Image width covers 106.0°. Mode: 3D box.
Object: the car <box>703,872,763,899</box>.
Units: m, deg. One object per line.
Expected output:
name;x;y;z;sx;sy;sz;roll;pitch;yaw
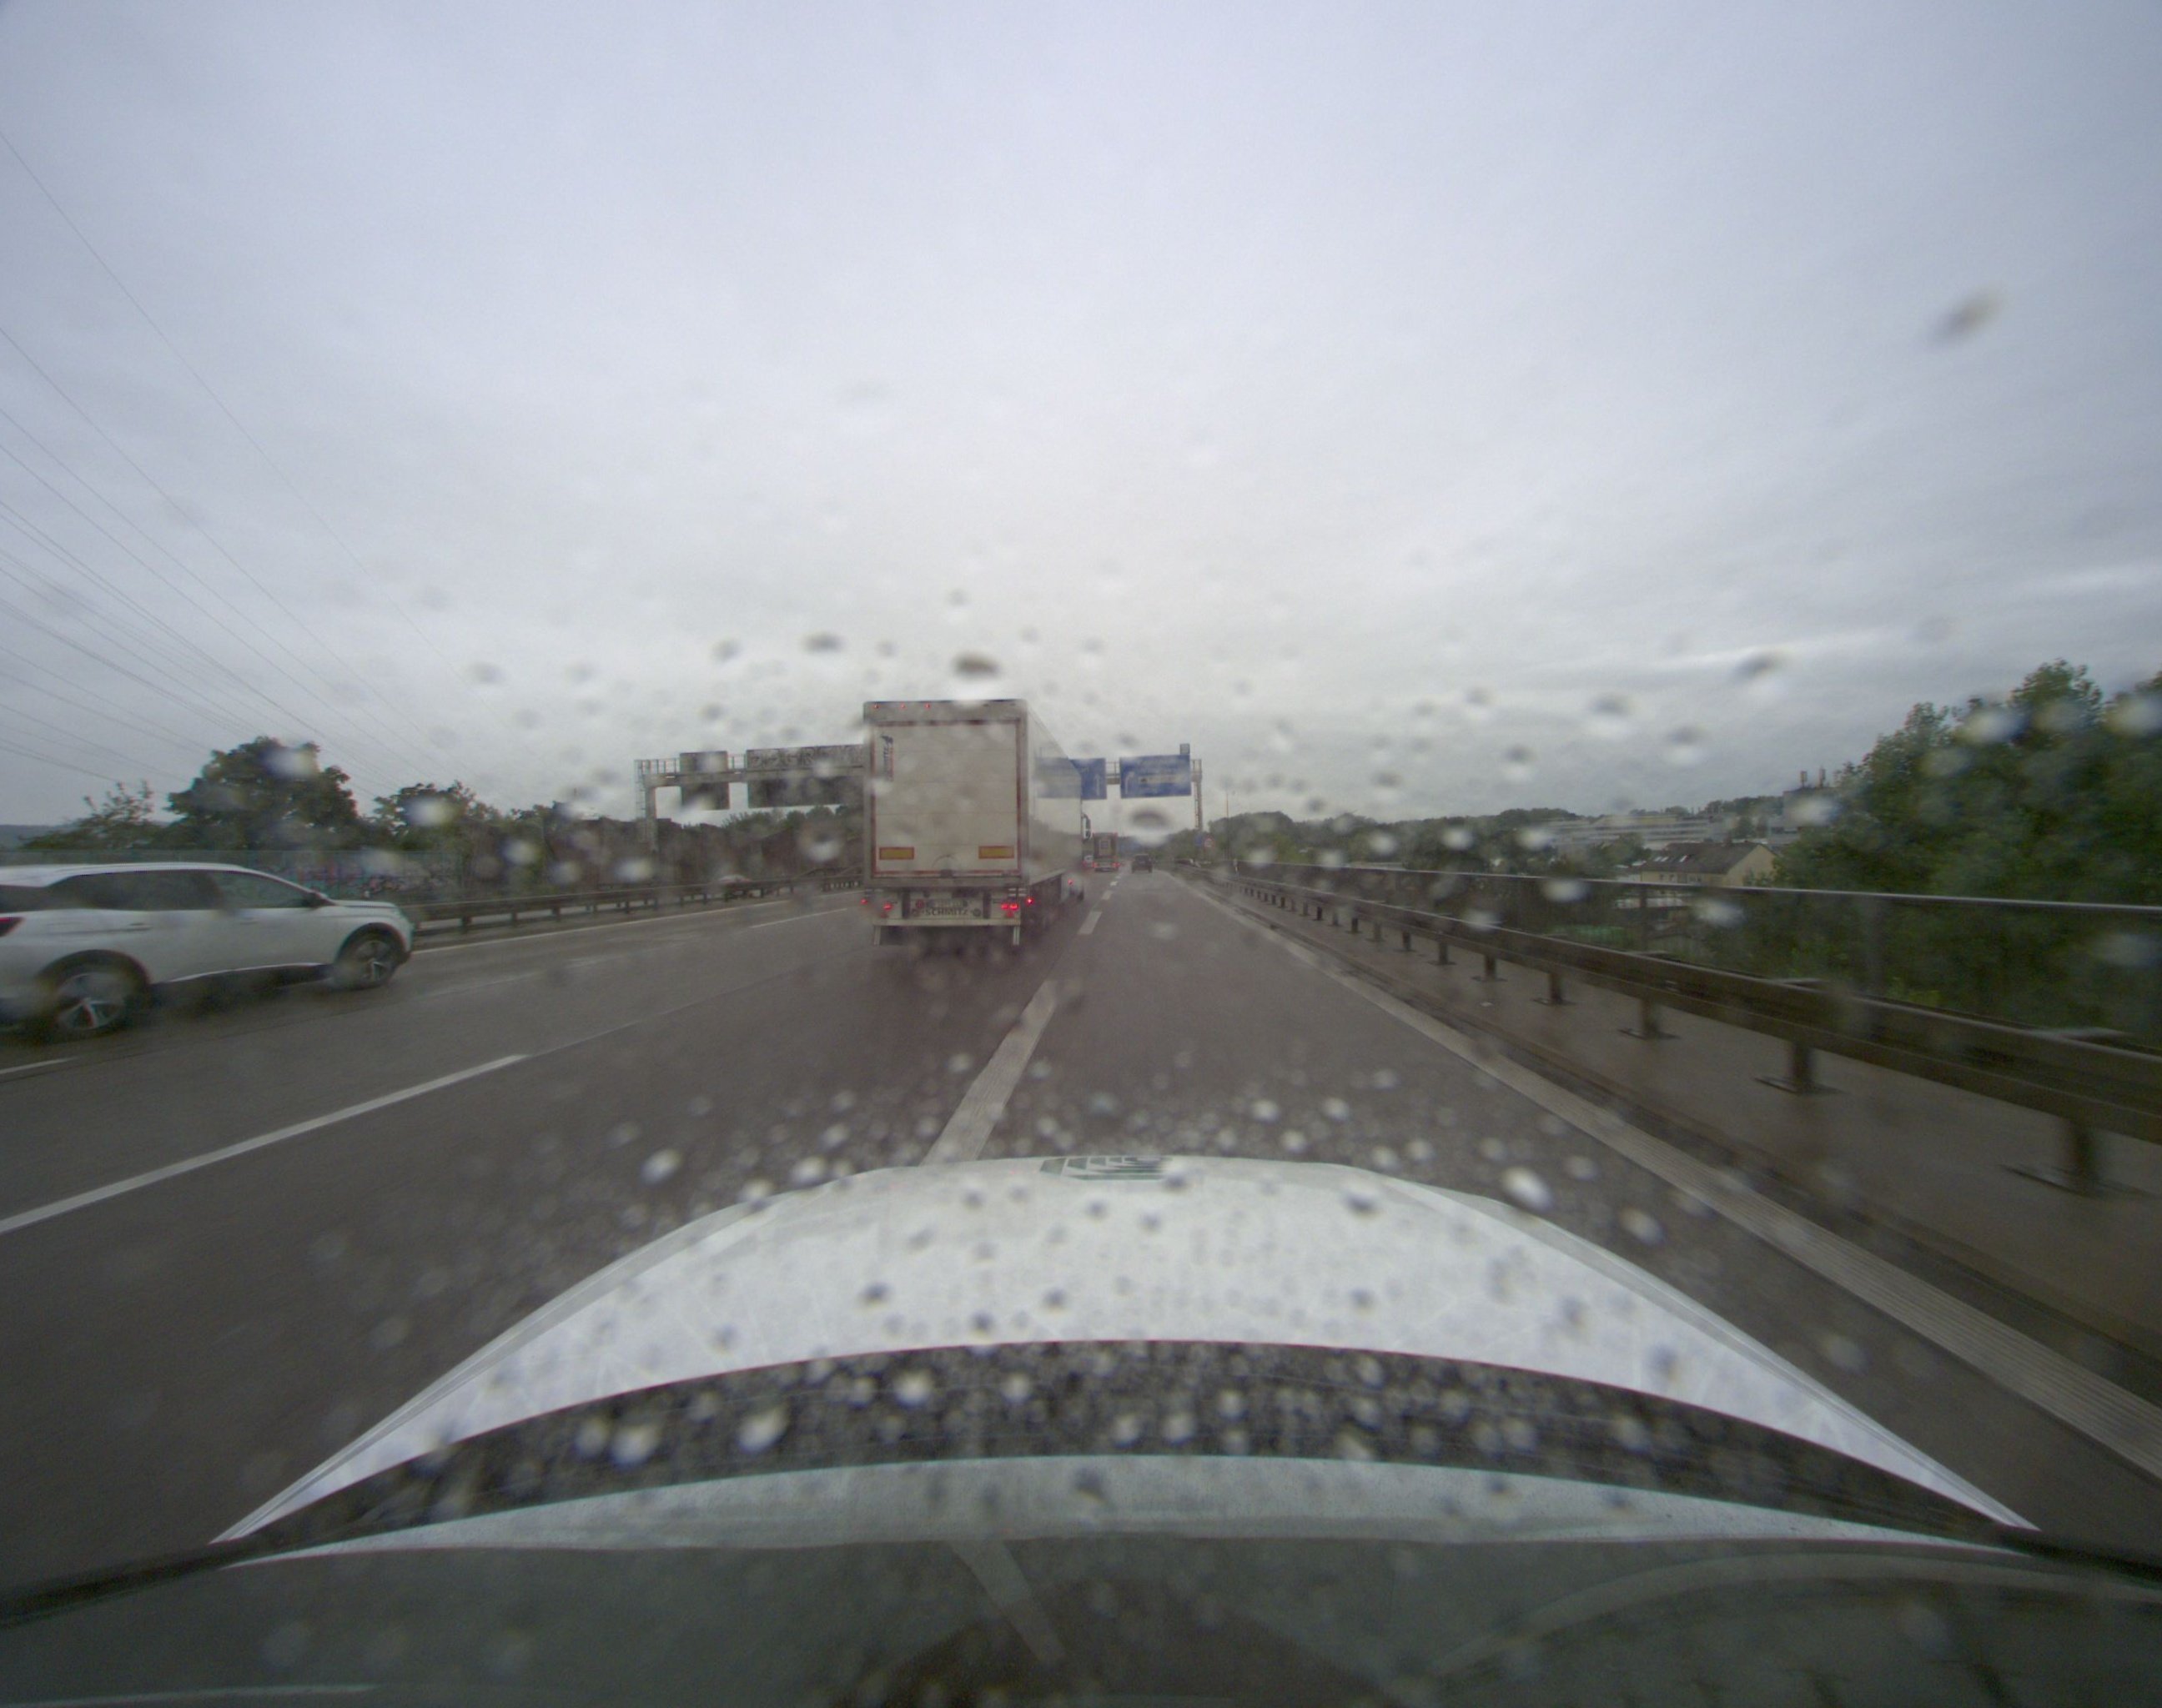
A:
car;-25.520;2.273;59.956;1.986;1.784;5.109;-2;0;2

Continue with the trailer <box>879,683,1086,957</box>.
trailer;-1.472;-0.511;19.818;2.332;4.157;14.840;0;0;4

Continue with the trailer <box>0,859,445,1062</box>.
trailer;-9.587;0.899;8.685;1.807;1.624;4.572;-1;0;3

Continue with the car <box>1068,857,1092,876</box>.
car;-0.064;1.143;74.621;1.886;1.723;4.004;0;0;3

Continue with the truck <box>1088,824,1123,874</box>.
truck;2.807;-0.474;88.695;3.519;5.183;9.901;0;0;3

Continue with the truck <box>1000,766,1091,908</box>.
truck;-1.011;-0.496;27.040;2.332;4.157;6.352;0;0;3

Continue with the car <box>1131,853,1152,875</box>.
car;5.525;0.883;74.192;1.888;1.949;4.005;0;0;5

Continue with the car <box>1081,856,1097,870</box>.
car;1.107;1.265;114.318;2.040;1.949;4.004;0;0;3
